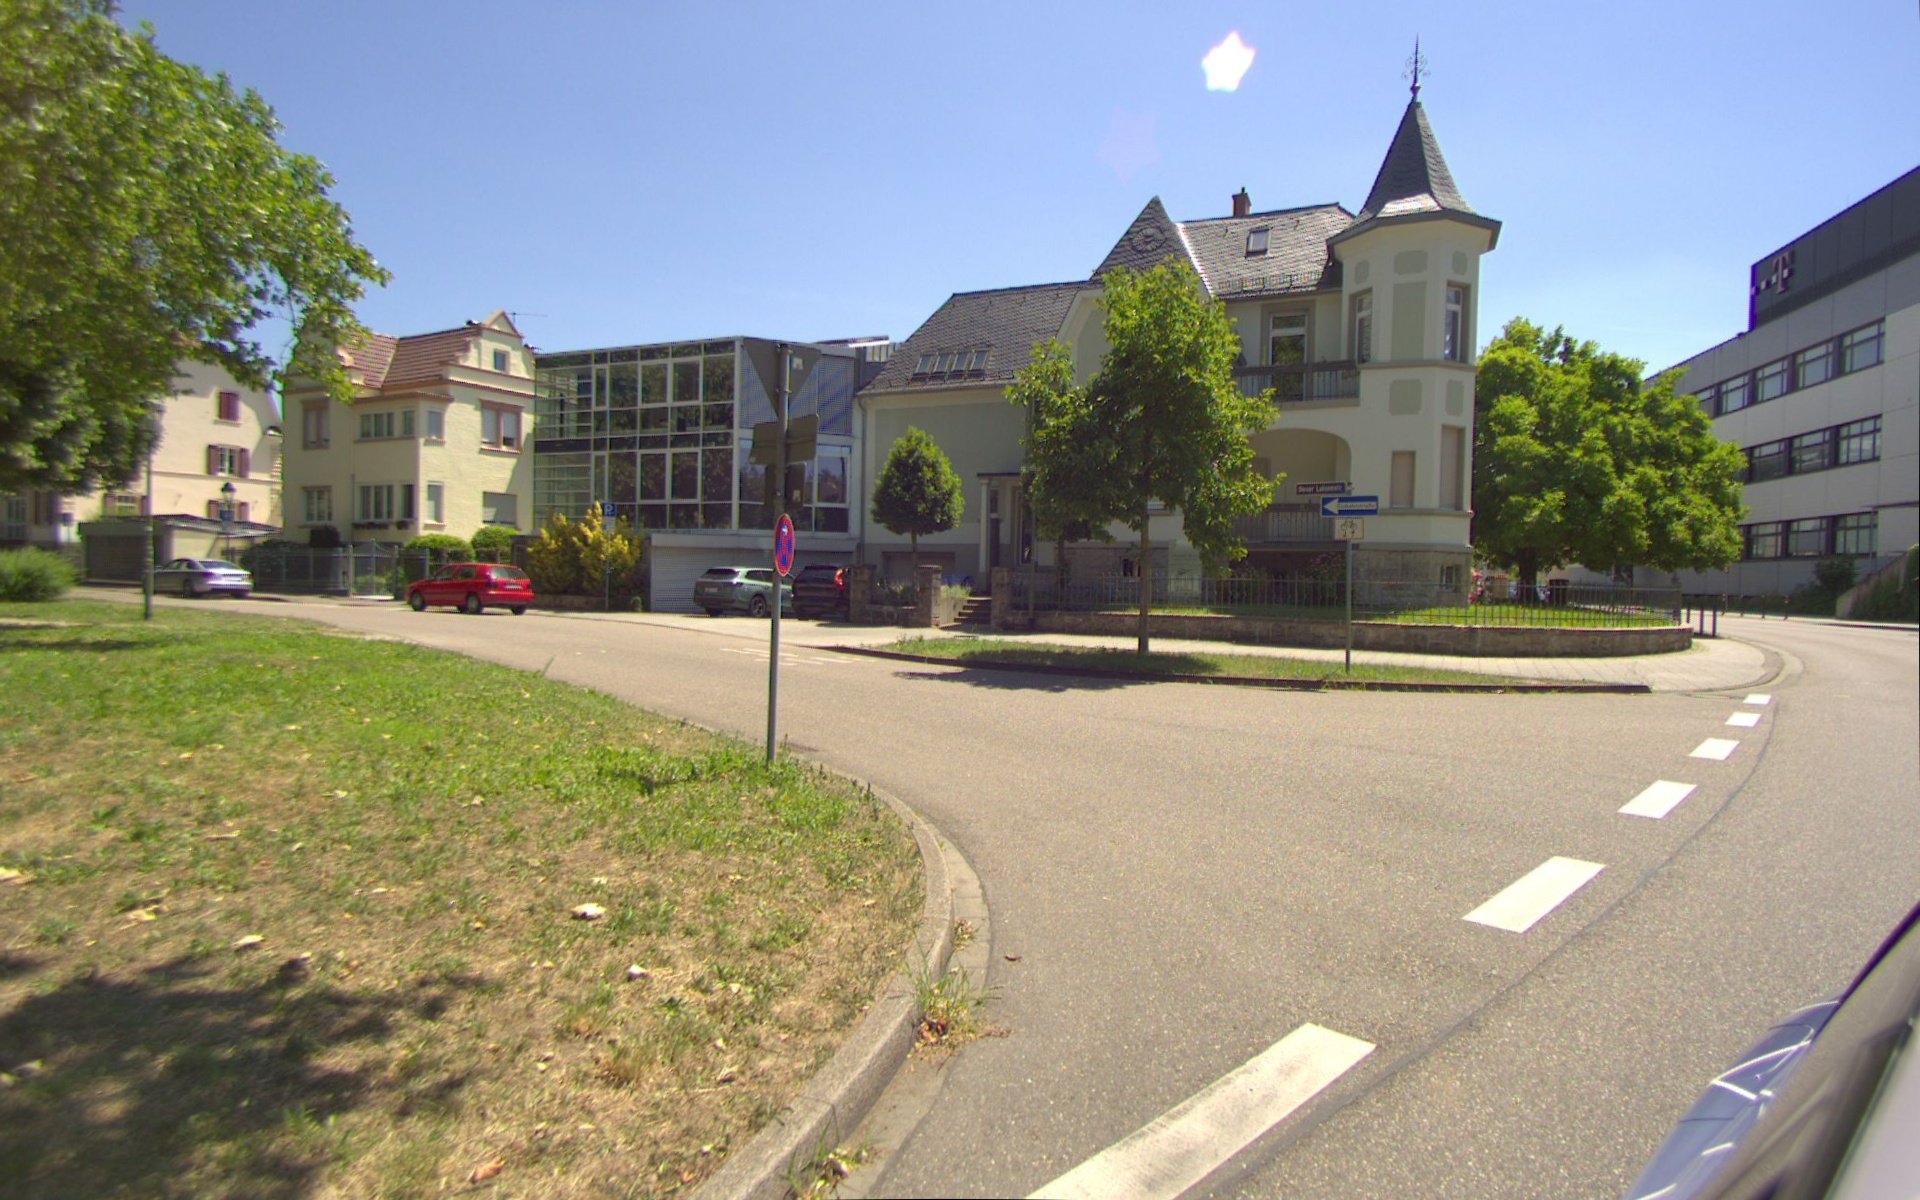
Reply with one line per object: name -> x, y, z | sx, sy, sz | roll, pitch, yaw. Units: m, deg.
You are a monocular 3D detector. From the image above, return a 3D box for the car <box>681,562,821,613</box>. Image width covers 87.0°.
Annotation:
car -> -6.082, -0.418, 29.914 | 1.982, 1.408, 3.960 | 1, 2, 29

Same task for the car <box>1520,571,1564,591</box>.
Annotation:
car -> 43.134, -1.418, 75.039 | 1.710, 1.467, 4.015 | 0, 2, 13

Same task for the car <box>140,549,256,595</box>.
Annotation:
car -> -27.346, -1.018, 36.305 | 3.960, 1.526, 1.738 | 2, 2, 26

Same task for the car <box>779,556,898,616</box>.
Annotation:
car -> -3.453, -0.458, 29.516 | 1.974, 1.587, 3.978 | 2, 2, 18

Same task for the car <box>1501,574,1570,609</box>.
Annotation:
car -> 27.399, -0.444, 48.326 | 1.748, 1.560, 3.985 | 2, 2, 13

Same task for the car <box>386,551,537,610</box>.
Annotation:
car -> -14.230, -0.565, 28.893 | 3.956, 1.543, 1.739 | 2, 0, 24
